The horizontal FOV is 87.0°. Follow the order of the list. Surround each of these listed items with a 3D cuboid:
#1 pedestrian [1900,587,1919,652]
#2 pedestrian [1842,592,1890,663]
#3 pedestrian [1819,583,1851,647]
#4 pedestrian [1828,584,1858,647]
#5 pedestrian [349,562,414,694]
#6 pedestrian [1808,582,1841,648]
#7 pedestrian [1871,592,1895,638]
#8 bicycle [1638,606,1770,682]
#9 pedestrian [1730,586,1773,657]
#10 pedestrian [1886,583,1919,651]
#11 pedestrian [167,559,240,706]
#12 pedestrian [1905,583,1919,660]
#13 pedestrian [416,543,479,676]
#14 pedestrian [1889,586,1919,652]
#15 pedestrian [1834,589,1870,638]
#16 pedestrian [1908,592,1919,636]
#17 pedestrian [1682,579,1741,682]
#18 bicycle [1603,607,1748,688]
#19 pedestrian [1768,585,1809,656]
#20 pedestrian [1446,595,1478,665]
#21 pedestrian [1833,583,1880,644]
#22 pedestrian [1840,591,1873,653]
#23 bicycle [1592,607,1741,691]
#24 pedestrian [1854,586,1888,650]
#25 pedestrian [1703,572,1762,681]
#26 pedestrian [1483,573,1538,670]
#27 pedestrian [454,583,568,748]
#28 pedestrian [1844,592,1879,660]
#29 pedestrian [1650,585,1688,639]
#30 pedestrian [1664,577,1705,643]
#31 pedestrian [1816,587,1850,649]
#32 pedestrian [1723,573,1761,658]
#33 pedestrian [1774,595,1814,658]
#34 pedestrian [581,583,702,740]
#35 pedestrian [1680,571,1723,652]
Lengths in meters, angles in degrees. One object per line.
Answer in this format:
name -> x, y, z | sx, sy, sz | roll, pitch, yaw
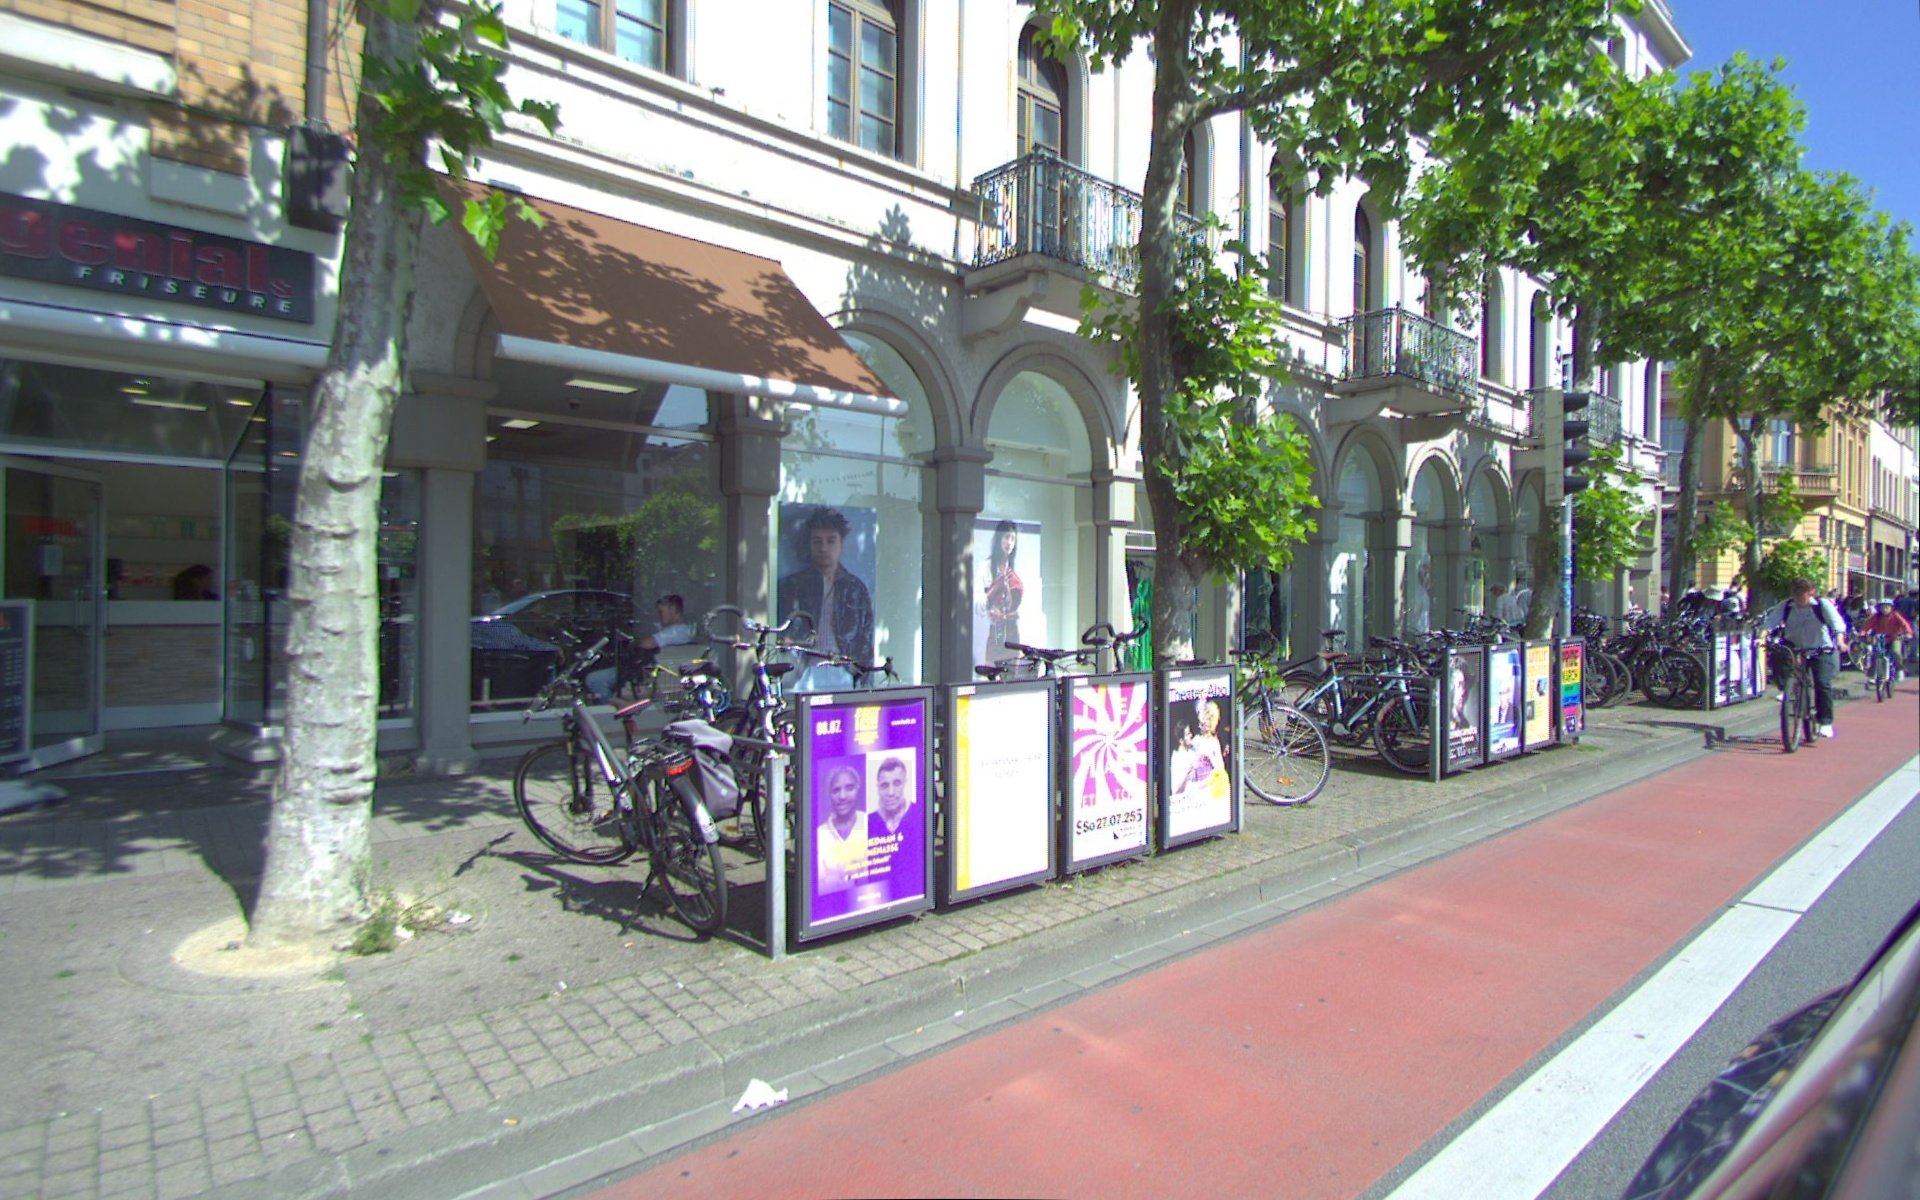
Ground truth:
pedestrian -> 25.460, 0.516, 26.914 | 0.581, 1.705, 0.568 | 1, 2, -44
pedestrian -> 22.173, 0.674, 24.784 | 0.566, 1.706, 0.623 | 0, -1, -7
pedestrian -> 24.007, 0.405, 27.762 | 0.612, 1.746, 0.577 | 1, -2, -44
pedestrian -> 26.063, 0.462, 29.884 | 0.685, 1.825, 0.577 | 1, -2, -44
pedestrian -> -6.301, 0.298, 11.039 | 0.407, 1.405, 0.525 | 0, -1, 2
pedestrian -> 23.003, 0.398, 26.916 | 0.612, 1.706, 0.577 | 1, -2, -44
pedestrian -> 33.949, 0.538, 37.233 | 0.575, 1.680, 0.613 | 1, 0, 38
bicycle -> 12.338, 0.702, 16.827 | 0.510, 1.161, 1.705 | 1, 0, -42
pedestrian -> 20.397, 0.548, 26.087 | 0.763, 1.805, 0.720 | 1, -2, -43
pedestrian -> 25.757, 0.448, 27.640 | 0.687, 1.807, 0.577 | 1, 1, -44
pedestrian -> -7.488, 0.310, 10.023 | 0.413, 1.405, 0.517 | -2, -2, 44
pedestrian -> 23.548, 0.515, 24.747 | 0.706, 1.869, 0.577 | 1, -2, -44
pedestrian -> -5.543, 0.100, 10.966 | 0.407, 1.405, 0.525 | 0, -1, 2
pedestrian -> 24.867, 0.494, 26.614 | 0.612, 1.706, 0.577 | 1, -2, -44
pedestrian -> 34.078, 0.520, 38.662 | 0.732, 1.828, 0.736 | 1, 0, -19
pedestrian -> 39.662, 0.586, 41.645 | 0.855, 1.815, 0.747 | 1, 0, 38
pedestrian -> 11.697, 0.472, 15.752 | 0.655, 1.558, 0.605 | 1, -2, -42
bicycle -> 11.113, 0.701, 15.758 | 0.582, 1.161, 1.755 | 1, 0, -42
pedestrian -> 20.905, 0.508, 25.545 | 0.741, 1.763, 0.675 | 1, -2, -43
pedestrian -> 11.353, 0.666, 22.903 | 0.502, 1.553, 0.530 | -2, -2, 42
pedestrian -> 27.780, 0.411, 31.372 | 0.838, 1.869, 0.623 | 0, -1, -2
pedestrian -> 23.443, 0.576, 26.466 | 0.612, 1.604, 0.577 | 1, -2, -44
bicycle -> 10.629, 0.700, 15.274 | 0.582, 1.161, 1.755 | 1, 0, -42
pedestrian -> 27.350, 0.530, 30.382 | 0.612, 1.882, 0.685 | 1, -2, -44
pedestrian -> 14.105, 0.474, 18.486 | 0.763, 1.927, 0.701 | 1, -2, -43
pedestrian -> 10.001, 0.381, 18.394 | 0.664, 1.718, 0.658 | 0, -1, -39
pedestrian -> -3.611, 0.511, 8.179 | 0.581, 1.268, 0.727 | -1, -1, 3
pedestrian -> 22.861, 0.653, 25.655 | 0.762, 1.706, 0.577 | 1, -2, -44
pedestrian -> 22.167, 0.373, 31.640 | 0.611, 1.668, 0.797 | 1, -1, -40
pedestrian -> 19.993, 0.267, 27.925 | 1.165, 1.780, 0.621 | 0, -1, -40
pedestrian -> 26.612, 0.536, 30.844 | 0.611, 1.869, 0.664 | 1, -2, -40
pedestrian -> 17.700, 0.350, 22.907 | 0.592, 1.906, 0.545 | 1, -2, -43
pedestrian -> 21.484, 0.680, 26.082 | 0.571, 1.604, 0.518 | 0, -1, -1
pedestrian -> -2.771, 0.521, 8.856 | 0.851, 1.323, 0.654 | 0, -1, 1
pedestrian -> 16.956, 0.257, 23.144 | 0.763, 1.816, 0.634 | 1, -2, -43
